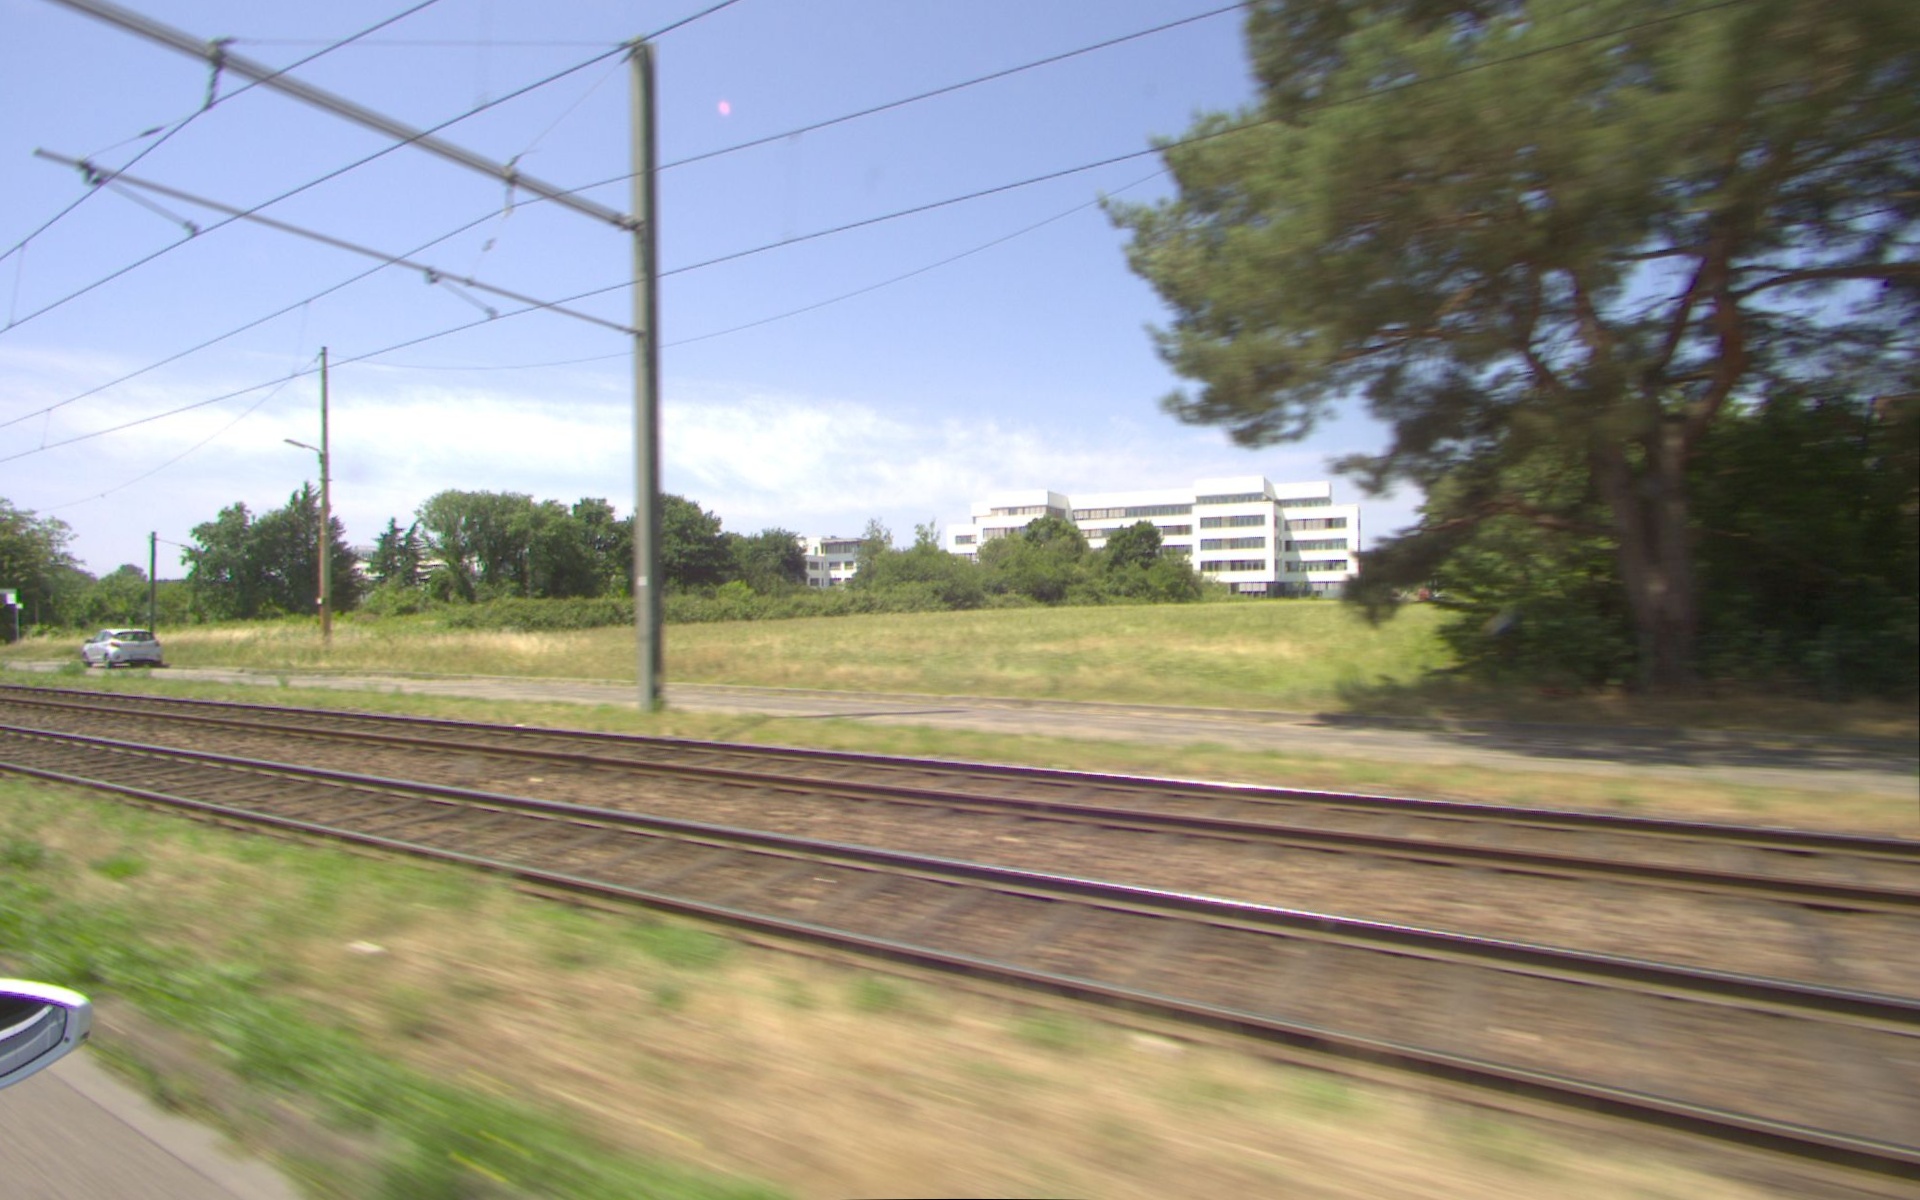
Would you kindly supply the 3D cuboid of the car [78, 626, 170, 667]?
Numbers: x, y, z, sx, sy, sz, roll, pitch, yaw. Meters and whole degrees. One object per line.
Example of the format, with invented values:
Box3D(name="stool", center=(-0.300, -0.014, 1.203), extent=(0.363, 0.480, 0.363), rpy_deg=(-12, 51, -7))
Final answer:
Box3D(name="car", center=(-32.880, 1.802, 39.360), extent=(3.945, 1.507, 1.709), rpy_deg=(-1, -1, 33))
